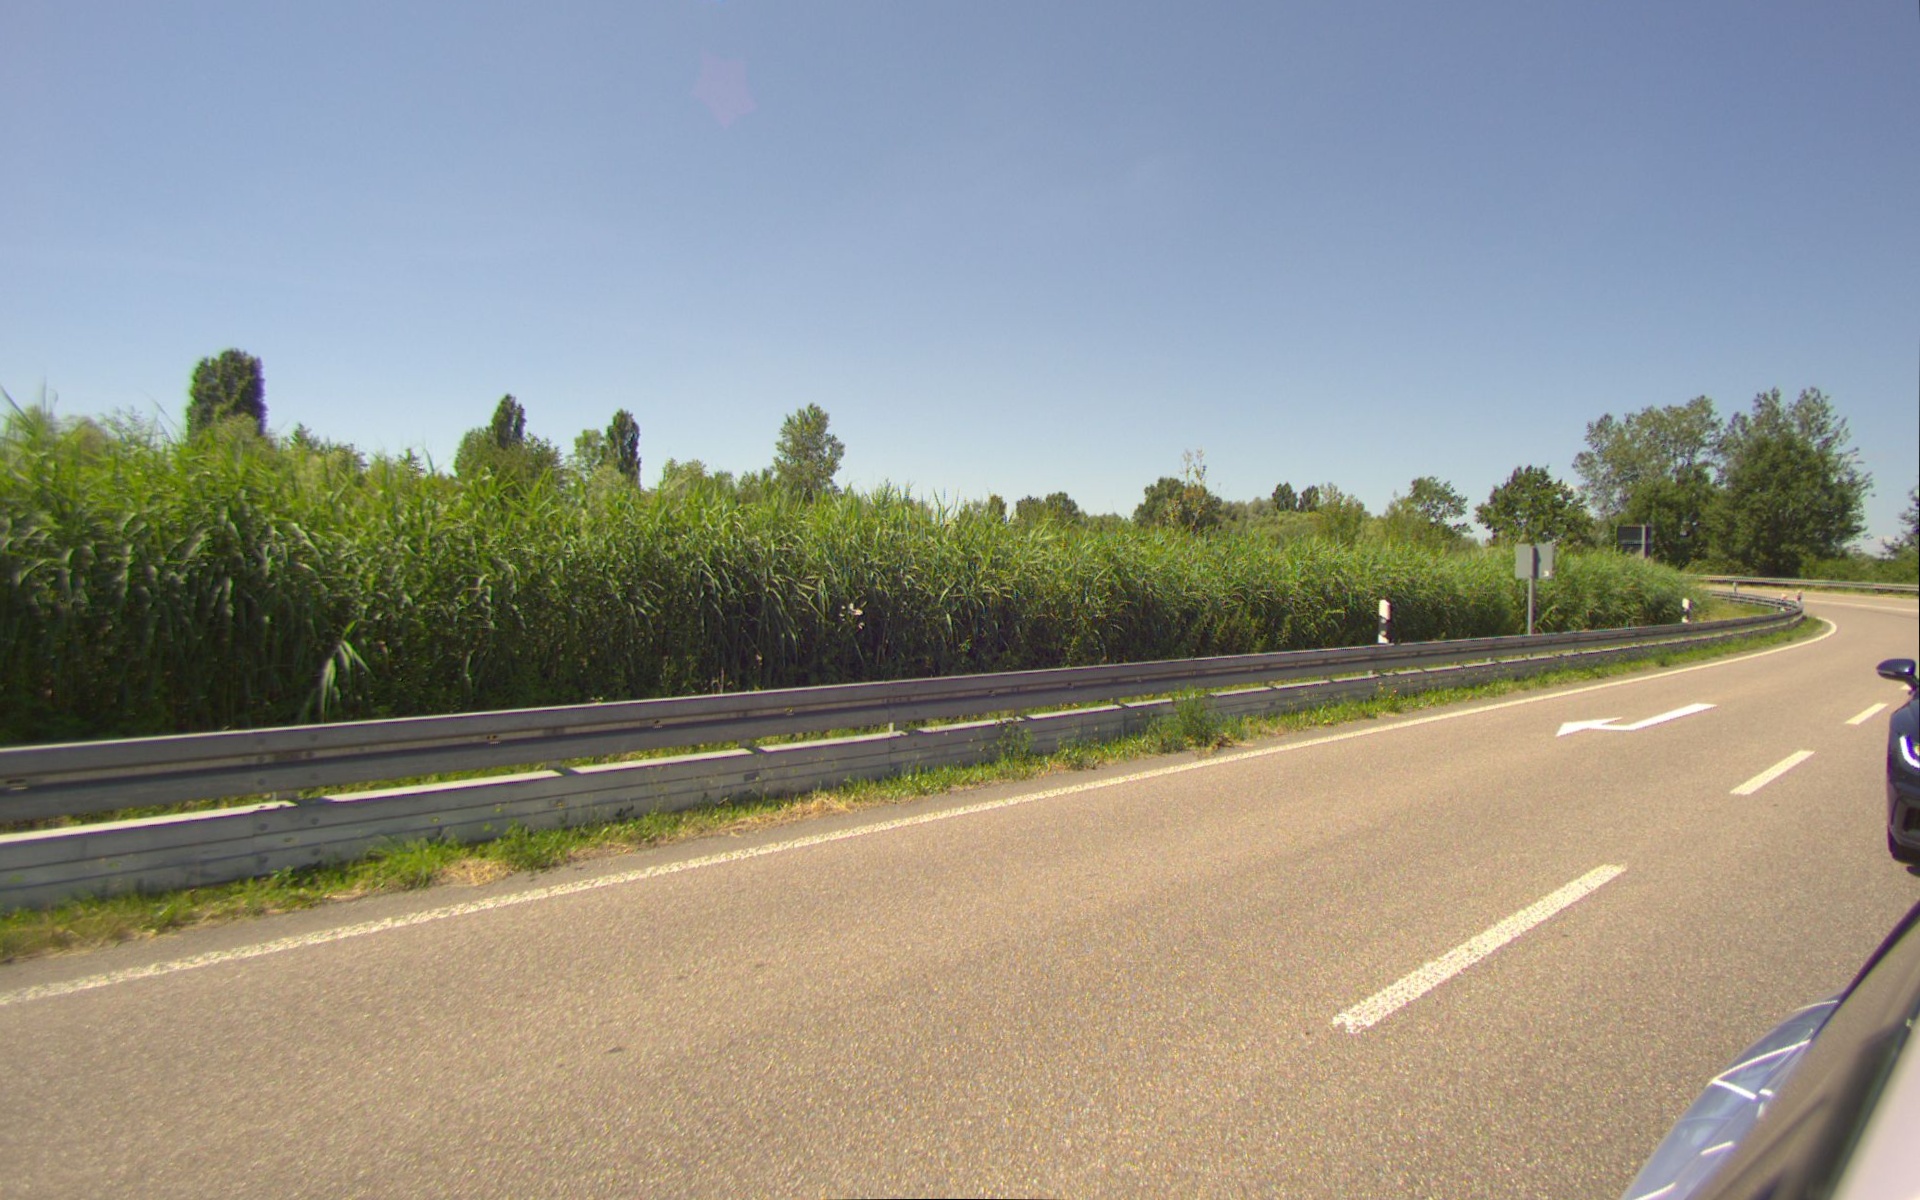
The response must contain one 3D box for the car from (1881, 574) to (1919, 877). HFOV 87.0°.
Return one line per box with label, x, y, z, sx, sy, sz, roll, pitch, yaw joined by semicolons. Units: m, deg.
car;6.820;0.603;5.778;4.338;1.481;1.818;-1;1;-41
